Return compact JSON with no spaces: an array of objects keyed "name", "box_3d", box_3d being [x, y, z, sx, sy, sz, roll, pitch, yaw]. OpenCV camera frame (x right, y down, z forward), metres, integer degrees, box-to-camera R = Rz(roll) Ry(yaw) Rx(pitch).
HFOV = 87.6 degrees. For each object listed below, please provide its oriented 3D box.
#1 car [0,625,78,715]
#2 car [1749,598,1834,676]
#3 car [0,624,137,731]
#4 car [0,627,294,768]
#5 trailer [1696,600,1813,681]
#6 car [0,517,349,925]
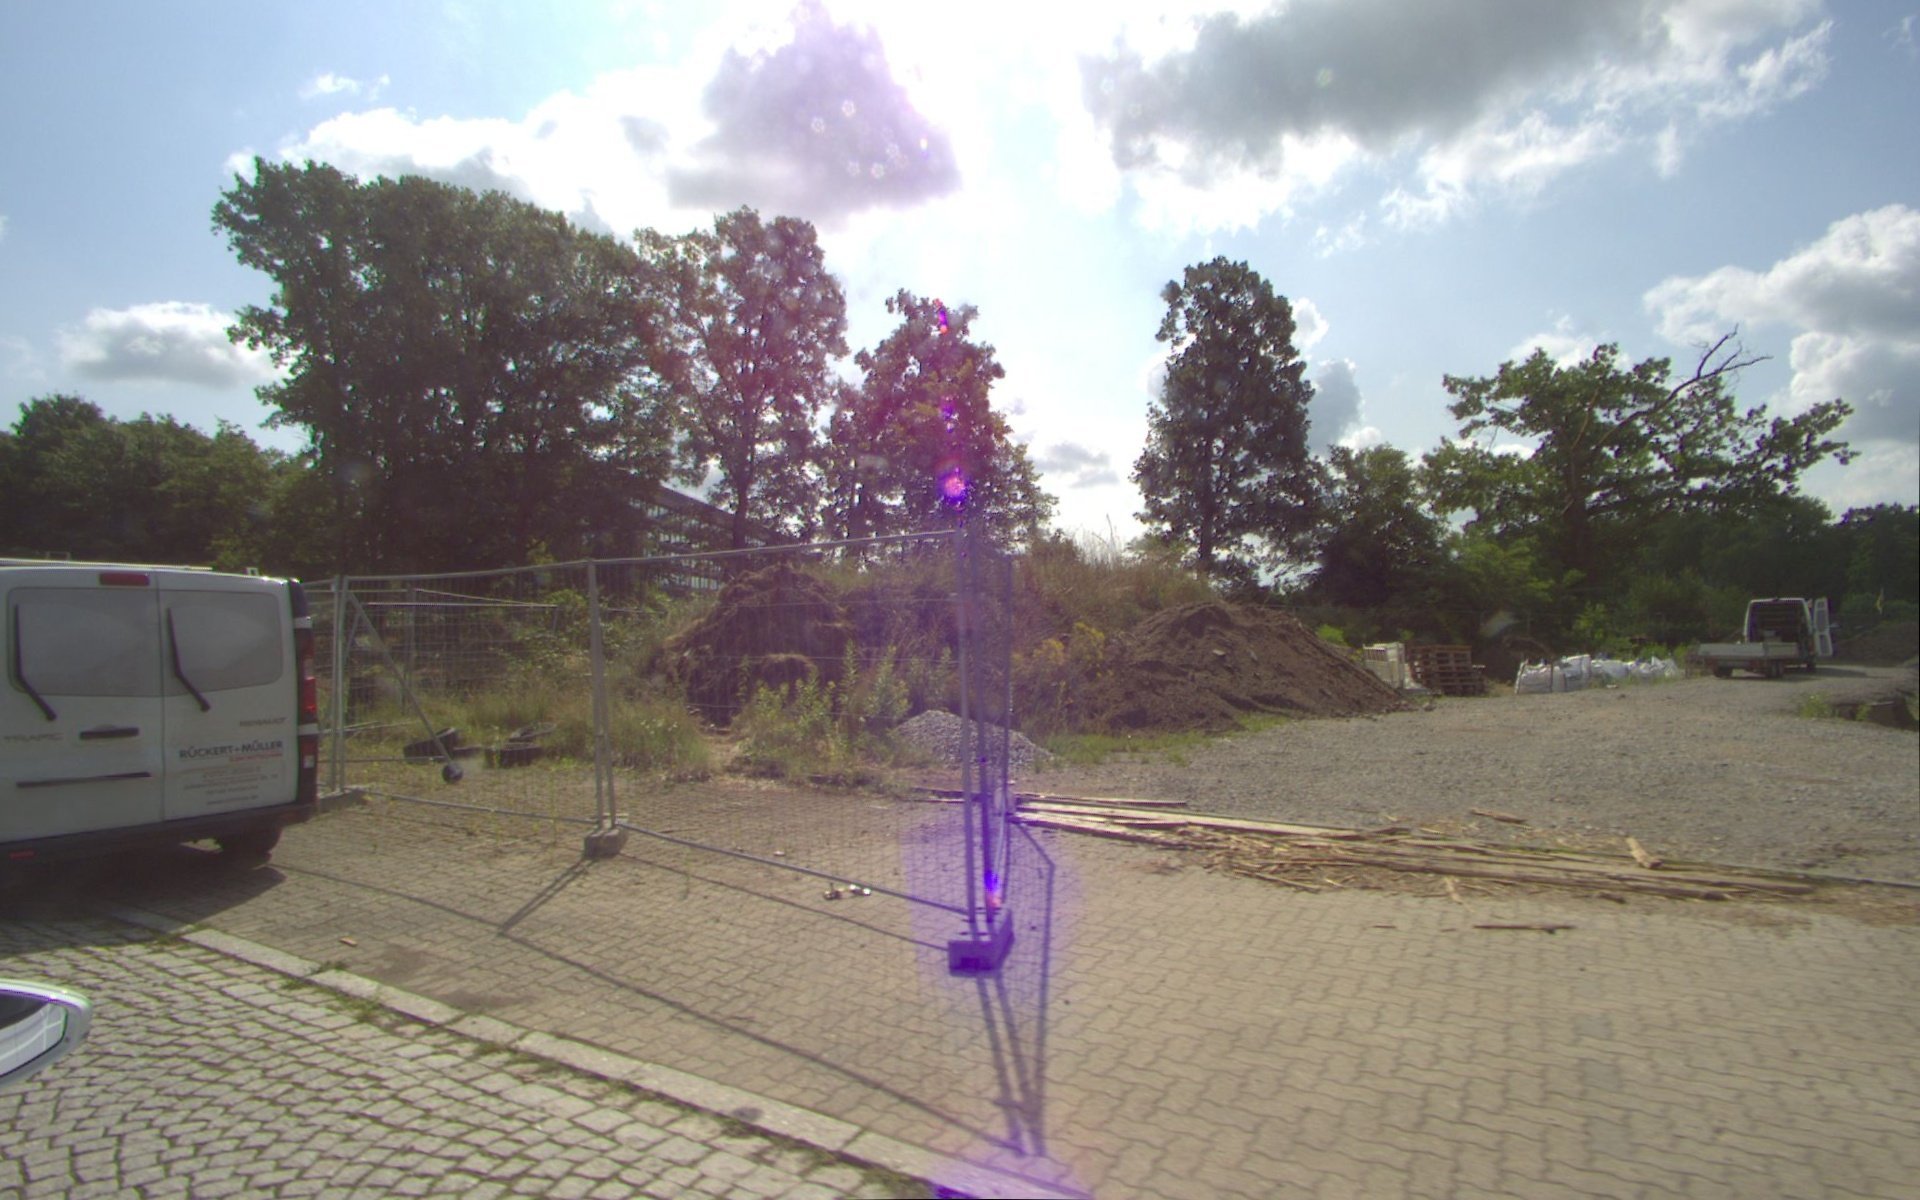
[{"name":"car","box_3d":[-17.282,1.188,16.325,1.678,1.483,4.039,-1,-1,28]},{"name":"car","box_3d":[30.256,1.324,36.565,2.220,2.624,5.400,-1,-2,38]},{"name":"car","box_3d":[-14.801,1.143,14.590,1.719,1.526,3.984,-1,-1,28]},{"name":"car","box_3d":[-11.001,1.128,12.301,1.718,1.494,4.452,-1,-1,26]},{"name":"trailer","box_3d":[26.261,1.307,33.045,4.787,2.504,1.947,1,-2,-38]},{"name":"car","box_3d":[-6.881,0.686,7.246,5.597,2.079,1.911,-1,-2,32]}]
